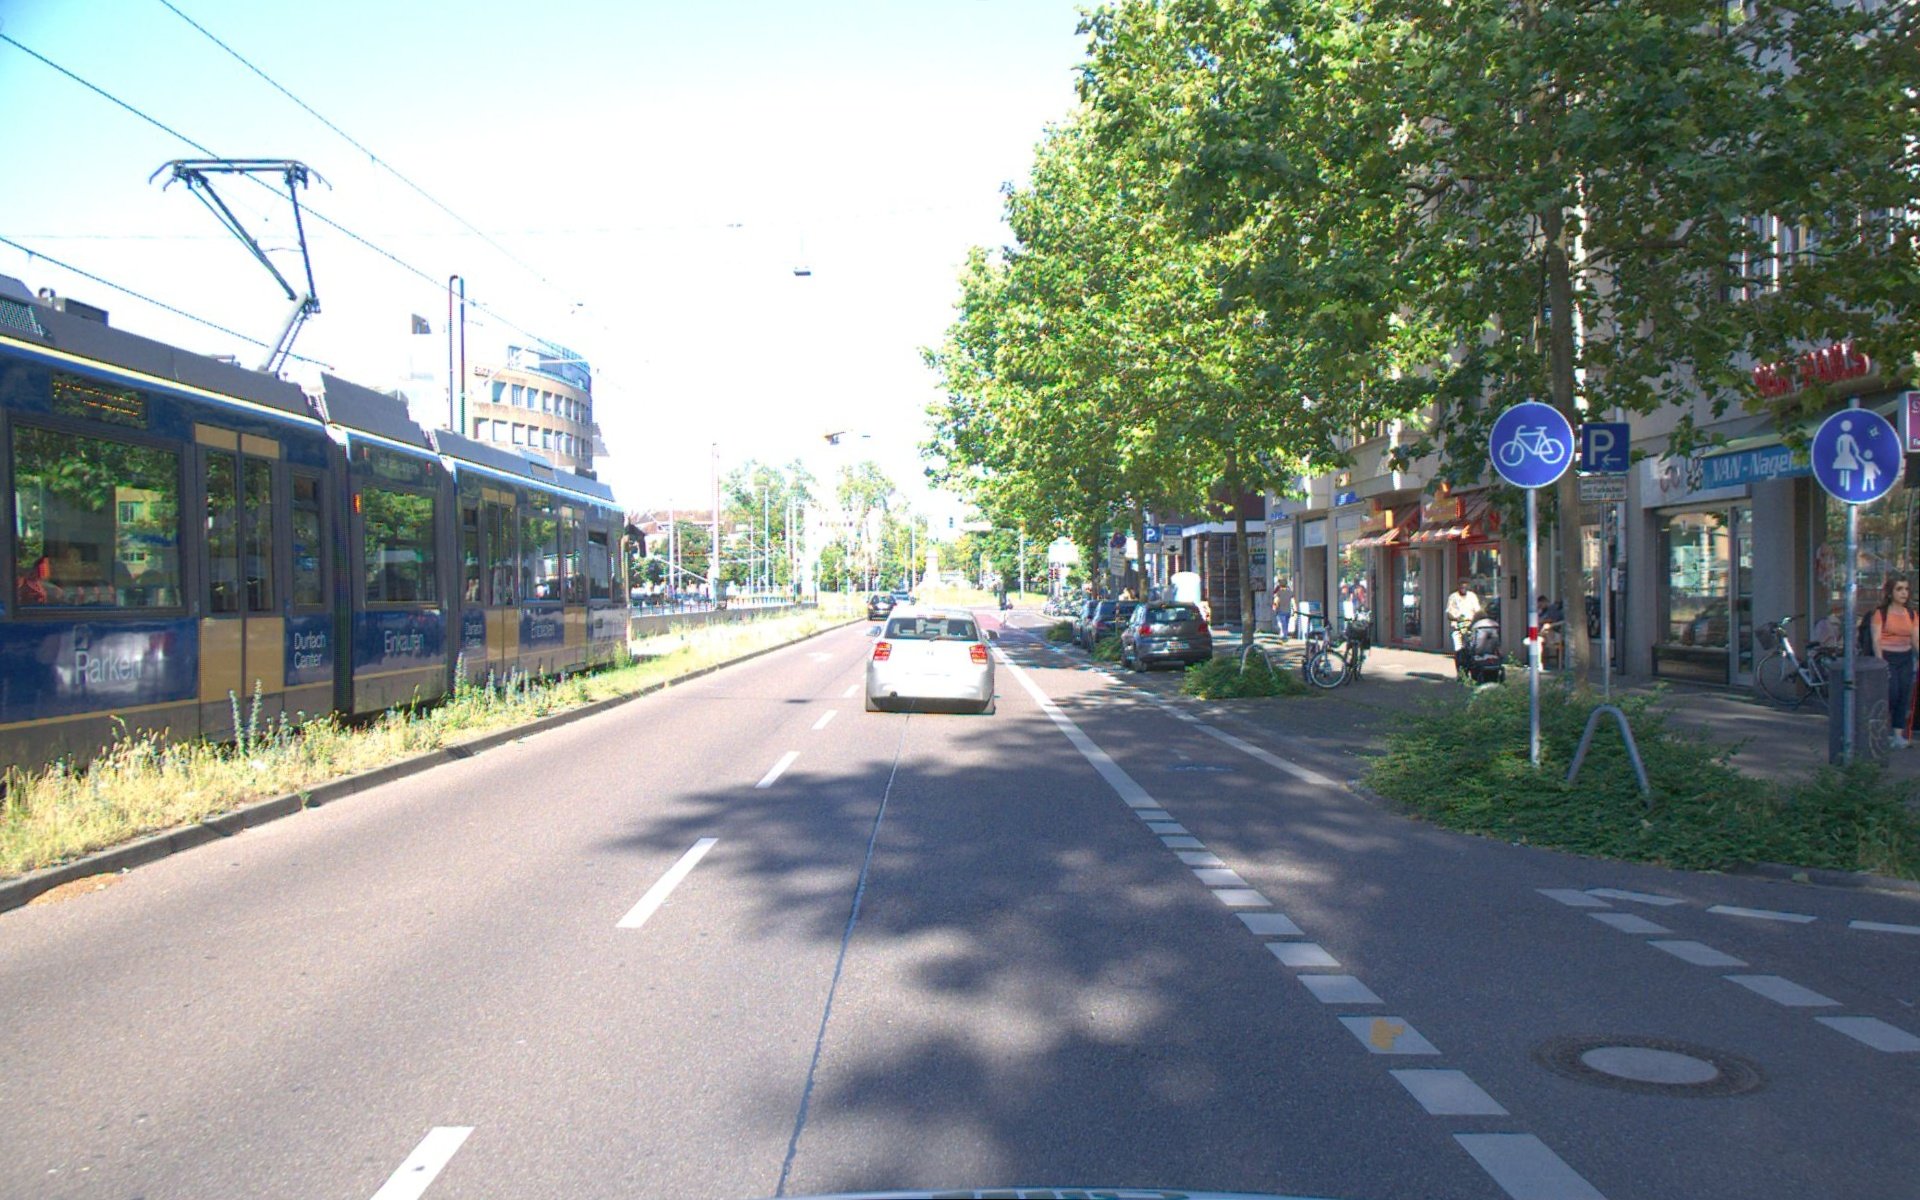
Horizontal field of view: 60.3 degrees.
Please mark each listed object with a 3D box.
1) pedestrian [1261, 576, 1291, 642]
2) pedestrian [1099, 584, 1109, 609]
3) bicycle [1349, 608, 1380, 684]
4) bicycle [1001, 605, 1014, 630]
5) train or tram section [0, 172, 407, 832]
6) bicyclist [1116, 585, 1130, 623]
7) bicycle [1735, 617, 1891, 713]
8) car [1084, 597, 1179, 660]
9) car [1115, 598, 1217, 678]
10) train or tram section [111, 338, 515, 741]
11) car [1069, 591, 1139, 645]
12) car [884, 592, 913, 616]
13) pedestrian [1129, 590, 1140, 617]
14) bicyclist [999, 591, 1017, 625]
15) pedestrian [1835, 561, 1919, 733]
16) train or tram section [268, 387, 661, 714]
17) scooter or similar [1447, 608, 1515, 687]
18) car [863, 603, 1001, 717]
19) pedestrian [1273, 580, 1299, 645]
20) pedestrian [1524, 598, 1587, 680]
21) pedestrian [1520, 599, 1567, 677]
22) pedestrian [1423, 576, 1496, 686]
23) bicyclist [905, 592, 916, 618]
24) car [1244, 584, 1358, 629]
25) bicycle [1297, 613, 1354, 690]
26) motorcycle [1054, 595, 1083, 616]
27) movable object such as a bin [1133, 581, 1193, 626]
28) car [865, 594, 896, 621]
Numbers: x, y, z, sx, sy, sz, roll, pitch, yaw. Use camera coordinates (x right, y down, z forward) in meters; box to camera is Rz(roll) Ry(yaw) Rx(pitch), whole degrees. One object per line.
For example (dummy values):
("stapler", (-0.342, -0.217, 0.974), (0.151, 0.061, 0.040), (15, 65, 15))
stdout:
("pedestrian", (9.376, 0.263, 49.082), (0.699, 1.933, 0.863), (-1, 0, -1))
("pedestrian", (11.884, -0.254, 136.281), (0.774, 2.049, 0.870), (1, 0, 6))
("bicycle", (6.896, 0.761, 28.164), (0.377, 1.228, 1.874), (-1, 0, 18))
("bicycle", (2.228, 0.822, 77.785), (0.489, 1.107, 1.997), (1, 0, 0))
("train or tram section", (-7.091, -0.596, 9.321), (2.868, 3.878, 14.275), (1, 0, 1))
("bicyclist", (7.523, 0.184, 76.524), (0.588, 1.719, 0.598), (-1, 0, 10))
("bicycle", (10.357, 0.757, 20.211), (0.480, 1.042, 2.622), (-2, 0, -1))
("car", (4.489, 0.718, 43.969), (1.997, 1.535, 4.593), (0, 0, -1))
("car", (4.464, 0.785, 36.299), (1.660, 1.528, 3.801), (-3, 1, -1))
("train or tram section", (-6.979, -0.607, 18.443), (2.894, 3.965, 3.865), (1, 0, 0))
("car", (4.439, 0.535, 51.566), (1.753, 1.582, 4.435), (-1, 0, -1))
("car", (-3.697, 0.240, 100.015), (1.611, 1.446, 3.999), (1, 0, -1))
("pedestrian", (10.114, 0.204, 96.060), (0.561, 1.610, 0.556), (0, 0, 0))
("bicyclist", (2.259, 0.373, 77.850), (0.769, 1.558, 0.895), (1, 0, -1))
("pedestrian", (9.064, 0.449, 16.203), (0.668, 1.650, 0.562), (0, 0, -3))
("train or tram section", (-7.078, -0.619, 25.797), (2.892, 3.965, 10.801), (1, 0, -1))
("scooter or similar", (8.195, 0.732, 26.026), (0.729, 1.192, 0.848), (-2, 0, -4))
("car", (-0.389, 0.777, 23.372), (1.761, 1.439, 3.999), (1, 0, -1))
("pedestrian", (8.905, 0.339, 45.223), (0.546, 1.741, 0.770), (-1, 0, -1))
("pedestrian", (10.348, 0.662, 28.769), (0.769, 1.393, 0.857), (-1, 0, 0))
("pedestrian", (10.455, 0.673, 29.654), (0.524, 1.355, 0.820), (-1, 0, 0))
("pedestrian", (8.134, 0.493, 26.973), (0.842, 1.734, 0.916), (-1, 0, -3))
("bicyclist", (-3.178, 0.319, 105.663), (0.605, 1.599, 0.684), (0, 0, -12))
("car", (13.896, 0.281, 67.552), (4.211, 1.819, 1.995), (0, -1, -1))
("bicycle", (6.128, 0.854, 27.807), (0.384, 1.236, 1.901), (-2, -1, -4))
("motorcycle", (6.913, 0.358, 105.105), (1.816, 1.323, 0.652), (-1, 0, 2))
("movable object such as a bin", (8.996, 0.136, 73.421), (1.908, 1.875, 3.476), (-1, 1, -6))
("car", (-4.405, 0.395, 91.953), (1.692, 1.496, 4.408), (0, 0, -3))
